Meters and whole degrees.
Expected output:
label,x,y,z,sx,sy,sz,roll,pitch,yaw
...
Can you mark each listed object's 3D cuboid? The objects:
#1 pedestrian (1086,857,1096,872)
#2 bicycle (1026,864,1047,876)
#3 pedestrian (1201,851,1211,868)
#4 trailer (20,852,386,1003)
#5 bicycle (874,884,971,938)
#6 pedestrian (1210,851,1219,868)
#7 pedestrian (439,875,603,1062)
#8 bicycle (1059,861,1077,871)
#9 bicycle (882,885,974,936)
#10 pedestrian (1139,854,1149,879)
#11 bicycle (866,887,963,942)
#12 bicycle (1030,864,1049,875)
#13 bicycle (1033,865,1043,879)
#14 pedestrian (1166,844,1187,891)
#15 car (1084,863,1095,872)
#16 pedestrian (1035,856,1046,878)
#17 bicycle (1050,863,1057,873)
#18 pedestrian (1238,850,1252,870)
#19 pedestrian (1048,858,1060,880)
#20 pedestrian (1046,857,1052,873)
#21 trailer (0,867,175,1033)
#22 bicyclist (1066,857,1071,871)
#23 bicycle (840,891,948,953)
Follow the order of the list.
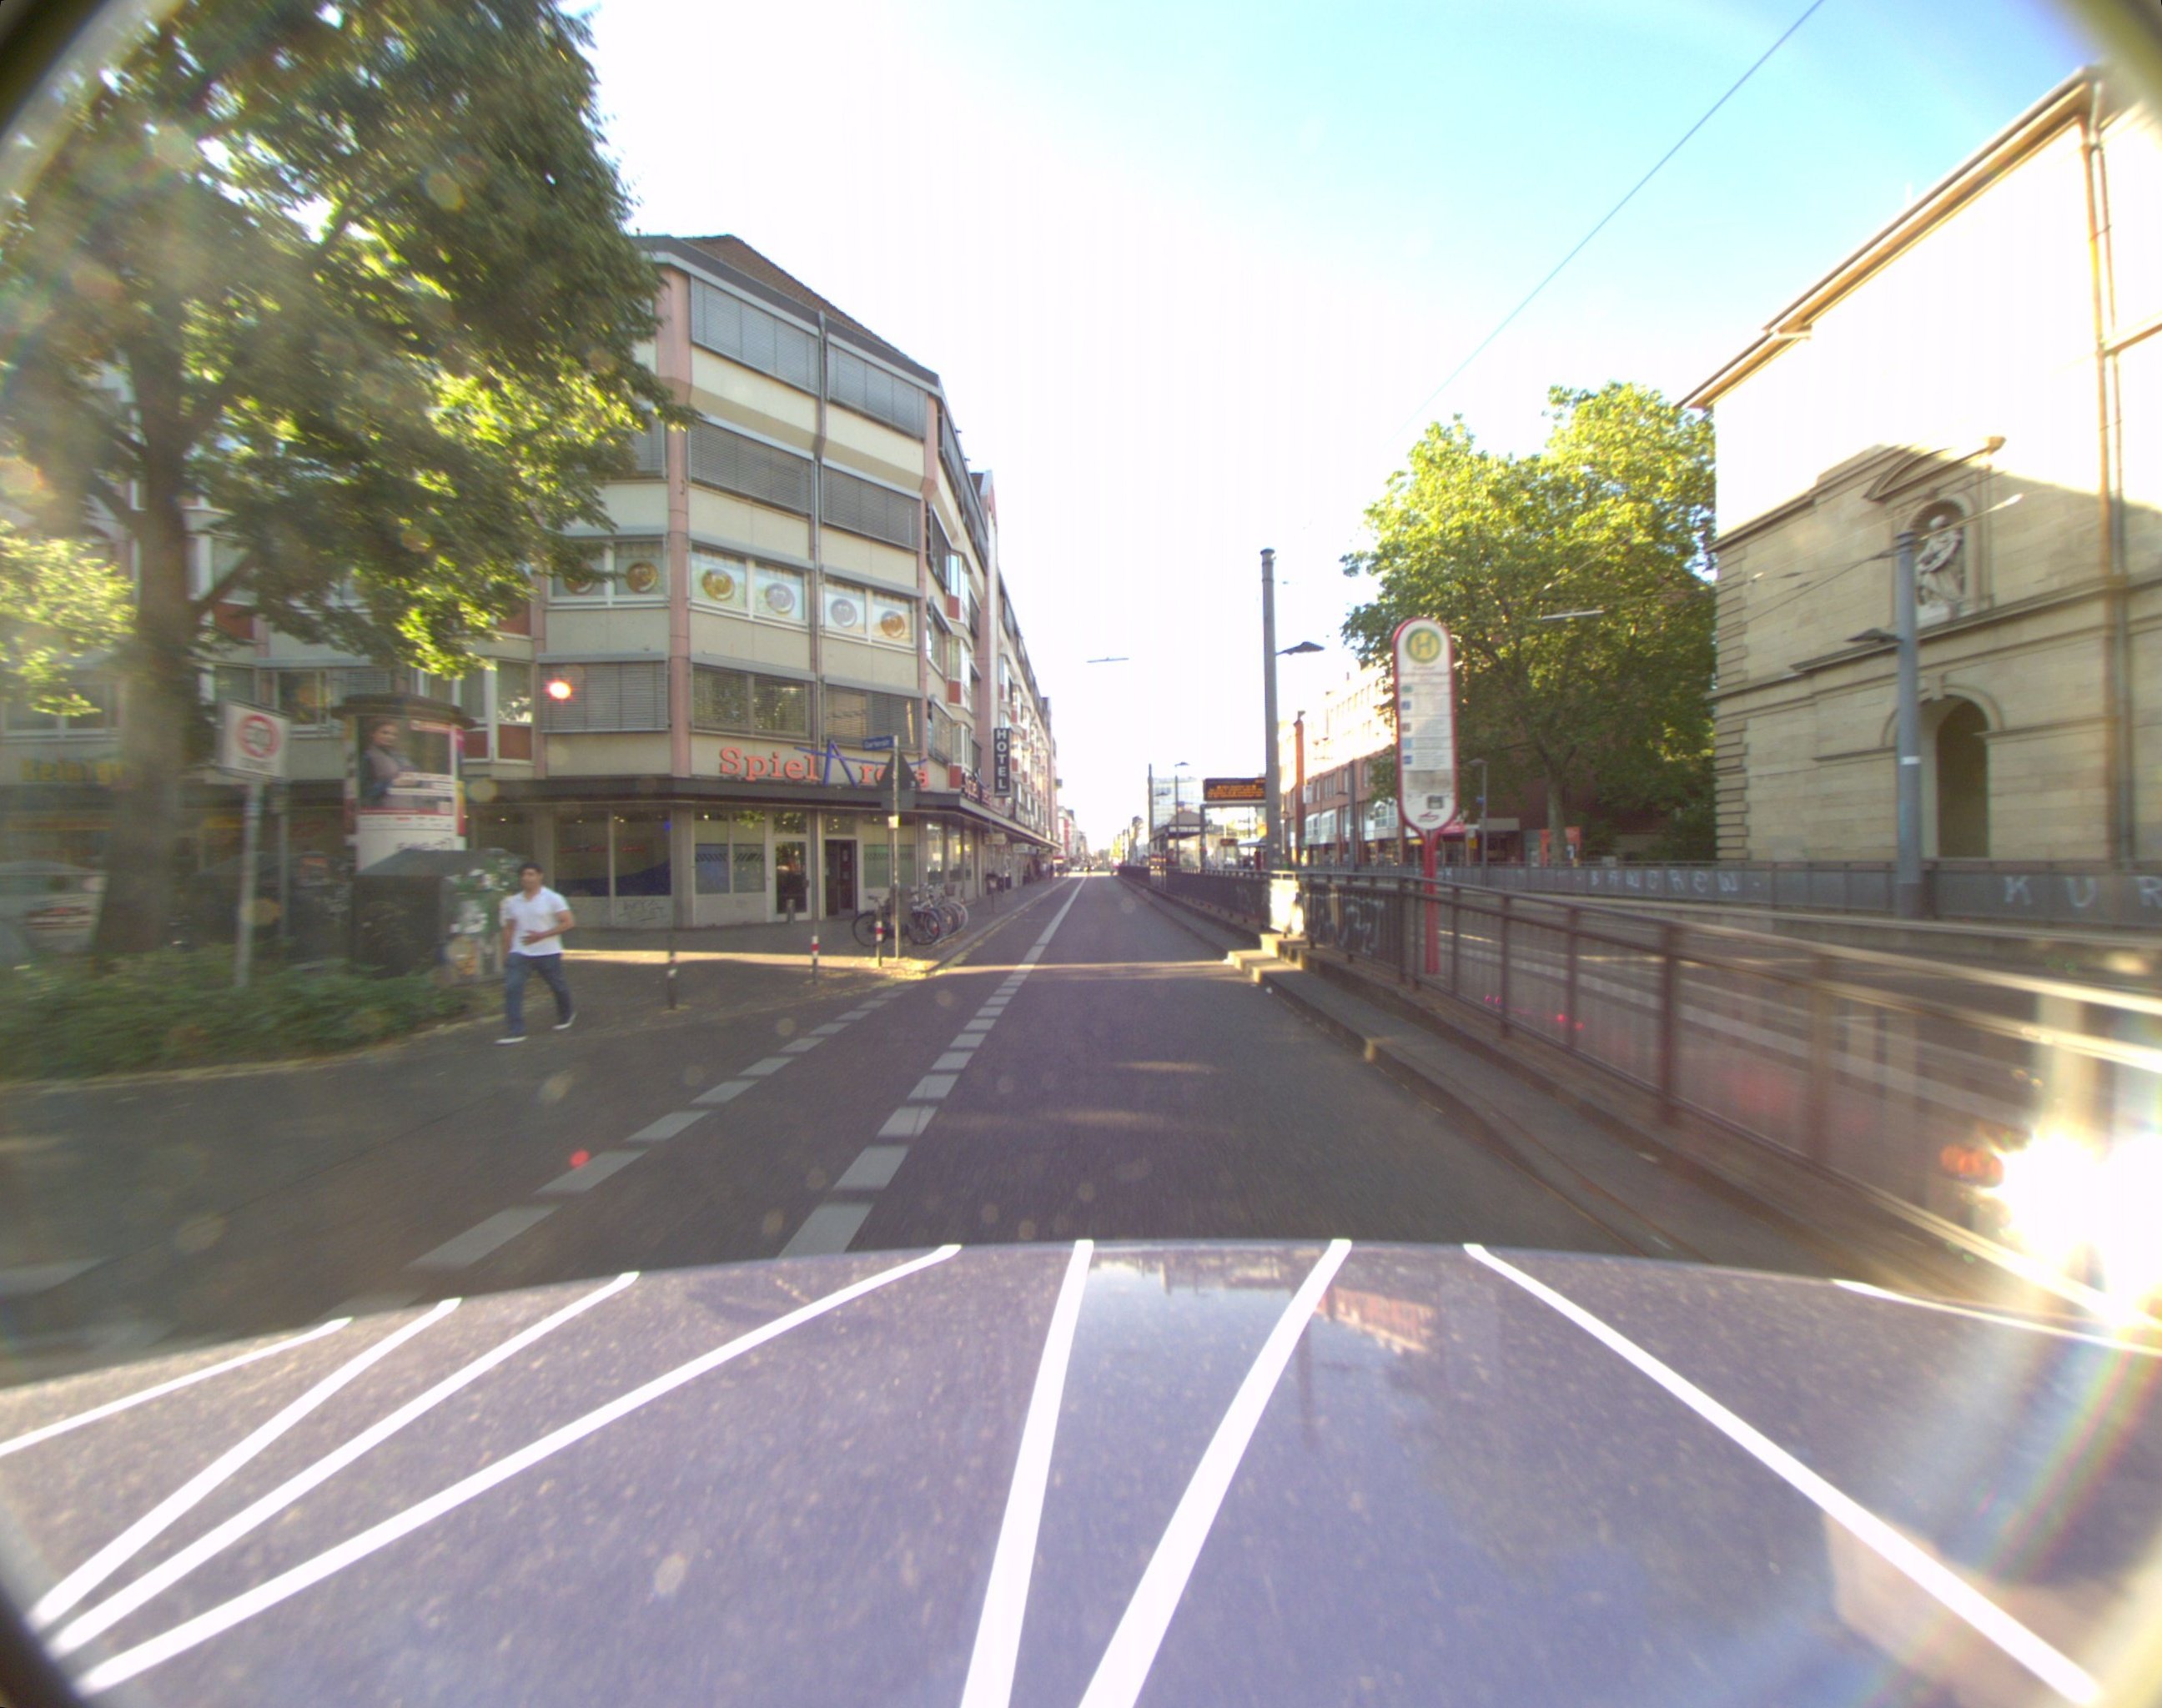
label,x,y,z,sx,sy,sz,roll,pitch,yaw
pedestrian,1.202,1.335,93.606,0.812,1.793,0.859,-4,1,-27
bicycle,-4.019,1.433,68.819,1.929,1.054,0.576,0,0,1
pedestrian,13.448,0.628,81.653,0.860,1.756,0.811,-4,1,8
trailer,-12.825,0.935,11.394,1.577,1.873,3.188,1,1,12
bicycle,-3.453,1.231,16.613,1.975,1.098,0.614,-1,0,-2
pedestrian,14.317,0.561,81.401,0.859,1.756,0.812,-4,1,9
pedestrian,-5.330,1.038,7.307,0.785,1.655,1.034,-1,-1,2
bicycle,-1.657,1.535,96.156,2.175,1.117,0.768,-1,1,-3
bicycle,-3.458,1.275,17.270,1.918,1.041,0.681,-2,0,-2
pedestrian,4.554,0.871,55.007,0.584,1.781,0.606,-2,1,-1
bicycle,-3.457,1.251,15.883,1.838,1.048,0.718,-2,0,-2
bicycle,-3.824,1.440,70.177,1.734,0.968,0.506,2,1,6
bicycle,-3.562,1.484,62.988,0.659,1.060,1.794,3,0,0
pedestrian,3.516,0.495,28.008,0.624,1.702,0.850,-1,0,0
car,1.731,2.612,149.721,1.971,1.664,4.876,-3,-1,1
pedestrian,-3.446,1.088,65.459,0.917,1.856,0.779,0,1,-2
bicycle,-2.884,1.526,80.897,0.678,0.971,1.842,3,0,-2
pedestrian,13.799,0.474,63.973,0.913,1.652,0.967,-1,1,0
pedestrian,-2.158,1.167,60.653,0.800,1.712,1.061,2,1,2
pedestrian,-3.235,1.128,76.252,0.407,1.586,0.462,2,1,29
trailer,-12.444,1.019,7.547,1.969,1.722,3.937,0,0,15
bicyclist,-1.588,1.254,96.145,0.637,1.668,0.768,-1,1,-3
bicycle,-3.469,1.251,14.209,1.838,1.048,0.710,-2,0,-2
